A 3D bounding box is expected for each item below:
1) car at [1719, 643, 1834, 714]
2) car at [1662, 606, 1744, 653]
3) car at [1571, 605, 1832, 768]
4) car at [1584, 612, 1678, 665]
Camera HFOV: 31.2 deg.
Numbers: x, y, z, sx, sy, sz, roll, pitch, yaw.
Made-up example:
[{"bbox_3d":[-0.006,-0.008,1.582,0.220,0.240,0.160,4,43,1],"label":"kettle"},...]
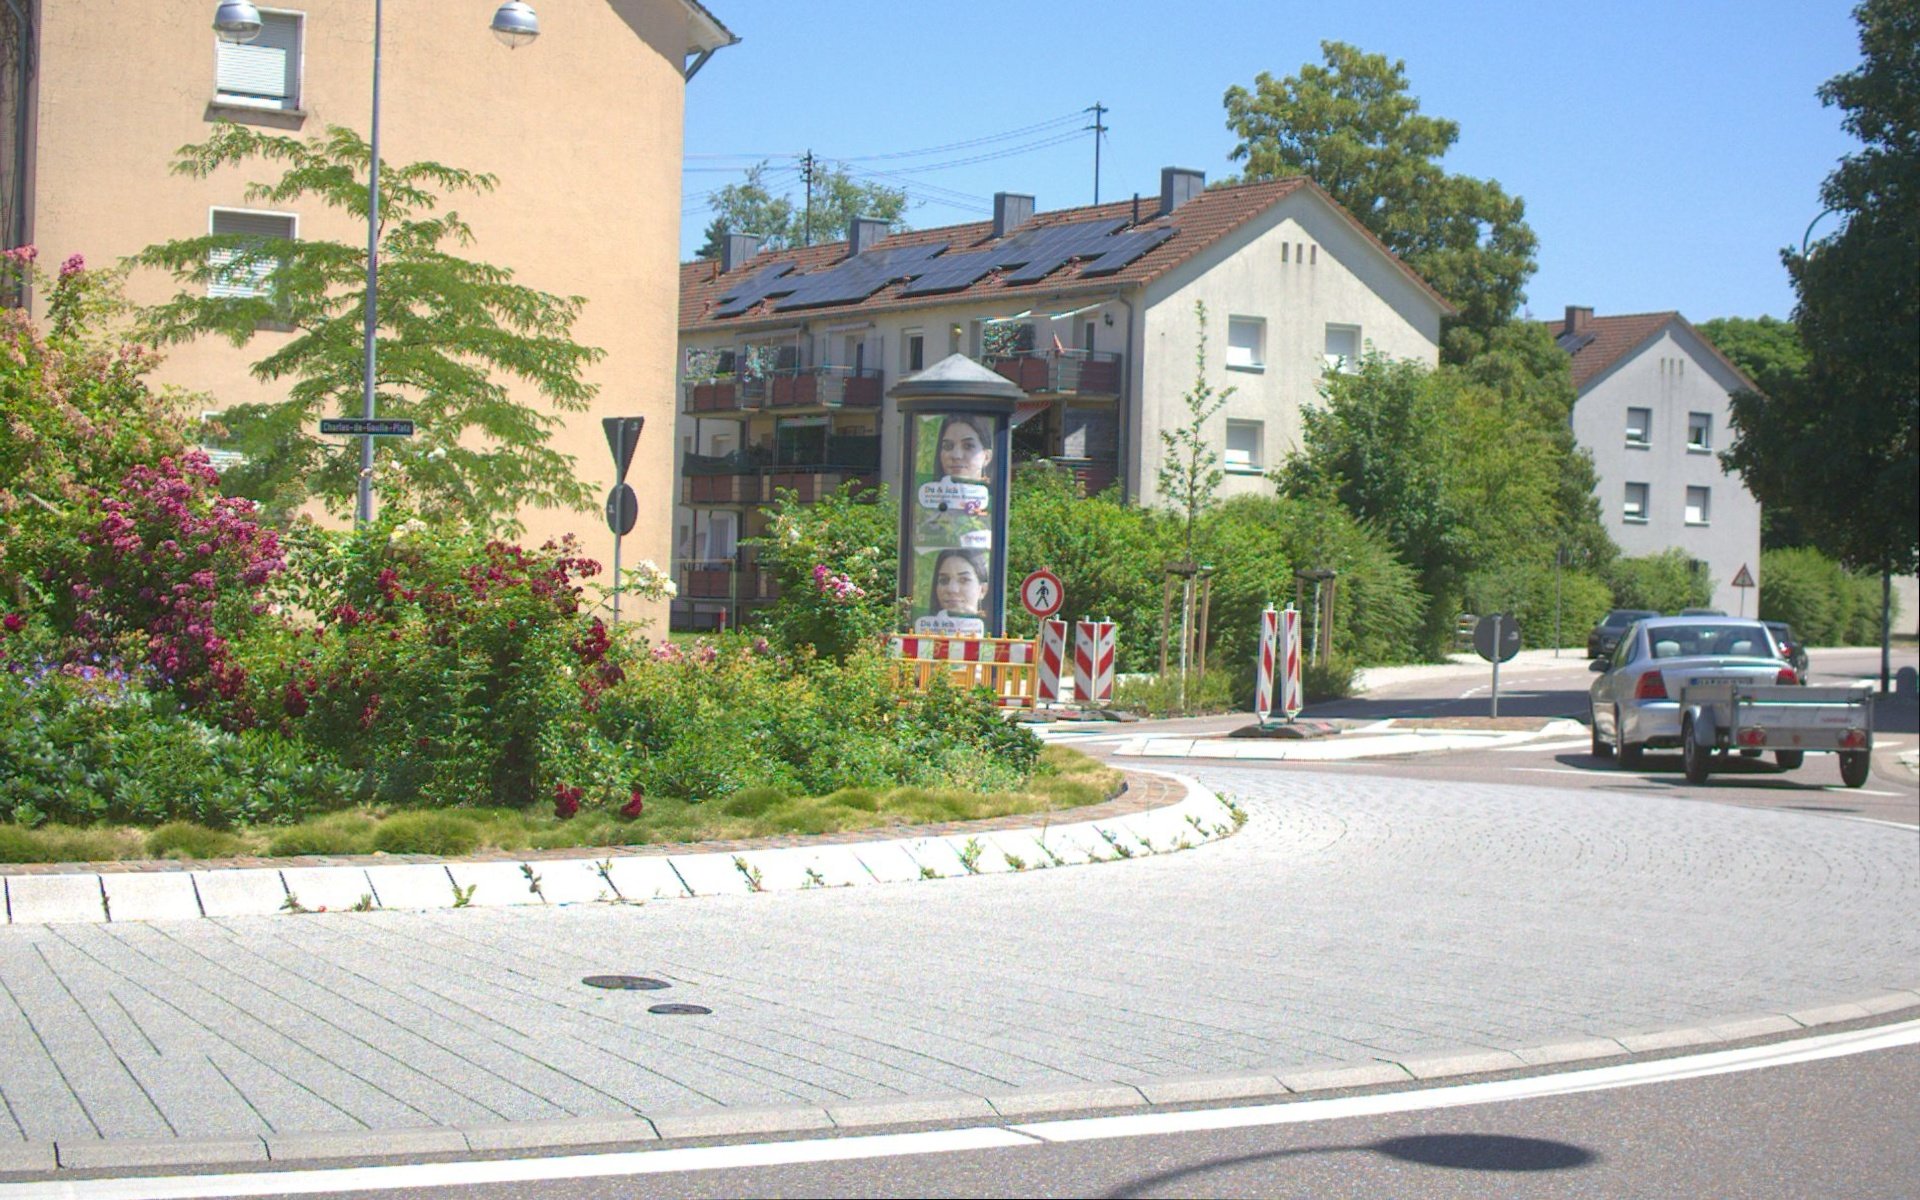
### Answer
[{"bbox_3d":[17.552,1.670,73.850,1.741,1.431,3.706,0,0,24],"label":"car"},{"bbox_3d":[23.324,0.920,107.832,1.741,1.431,3.705,0,0,25],"label":"car"},{"bbox_3d":[6.946,0.775,32.531,1.738,1.431,3.710,0,0,1],"label":"car"},{"bbox_3d":[18.808,1.058,96.270,1.741,1.431,3.705,0,0,25],"label":"car"}]
